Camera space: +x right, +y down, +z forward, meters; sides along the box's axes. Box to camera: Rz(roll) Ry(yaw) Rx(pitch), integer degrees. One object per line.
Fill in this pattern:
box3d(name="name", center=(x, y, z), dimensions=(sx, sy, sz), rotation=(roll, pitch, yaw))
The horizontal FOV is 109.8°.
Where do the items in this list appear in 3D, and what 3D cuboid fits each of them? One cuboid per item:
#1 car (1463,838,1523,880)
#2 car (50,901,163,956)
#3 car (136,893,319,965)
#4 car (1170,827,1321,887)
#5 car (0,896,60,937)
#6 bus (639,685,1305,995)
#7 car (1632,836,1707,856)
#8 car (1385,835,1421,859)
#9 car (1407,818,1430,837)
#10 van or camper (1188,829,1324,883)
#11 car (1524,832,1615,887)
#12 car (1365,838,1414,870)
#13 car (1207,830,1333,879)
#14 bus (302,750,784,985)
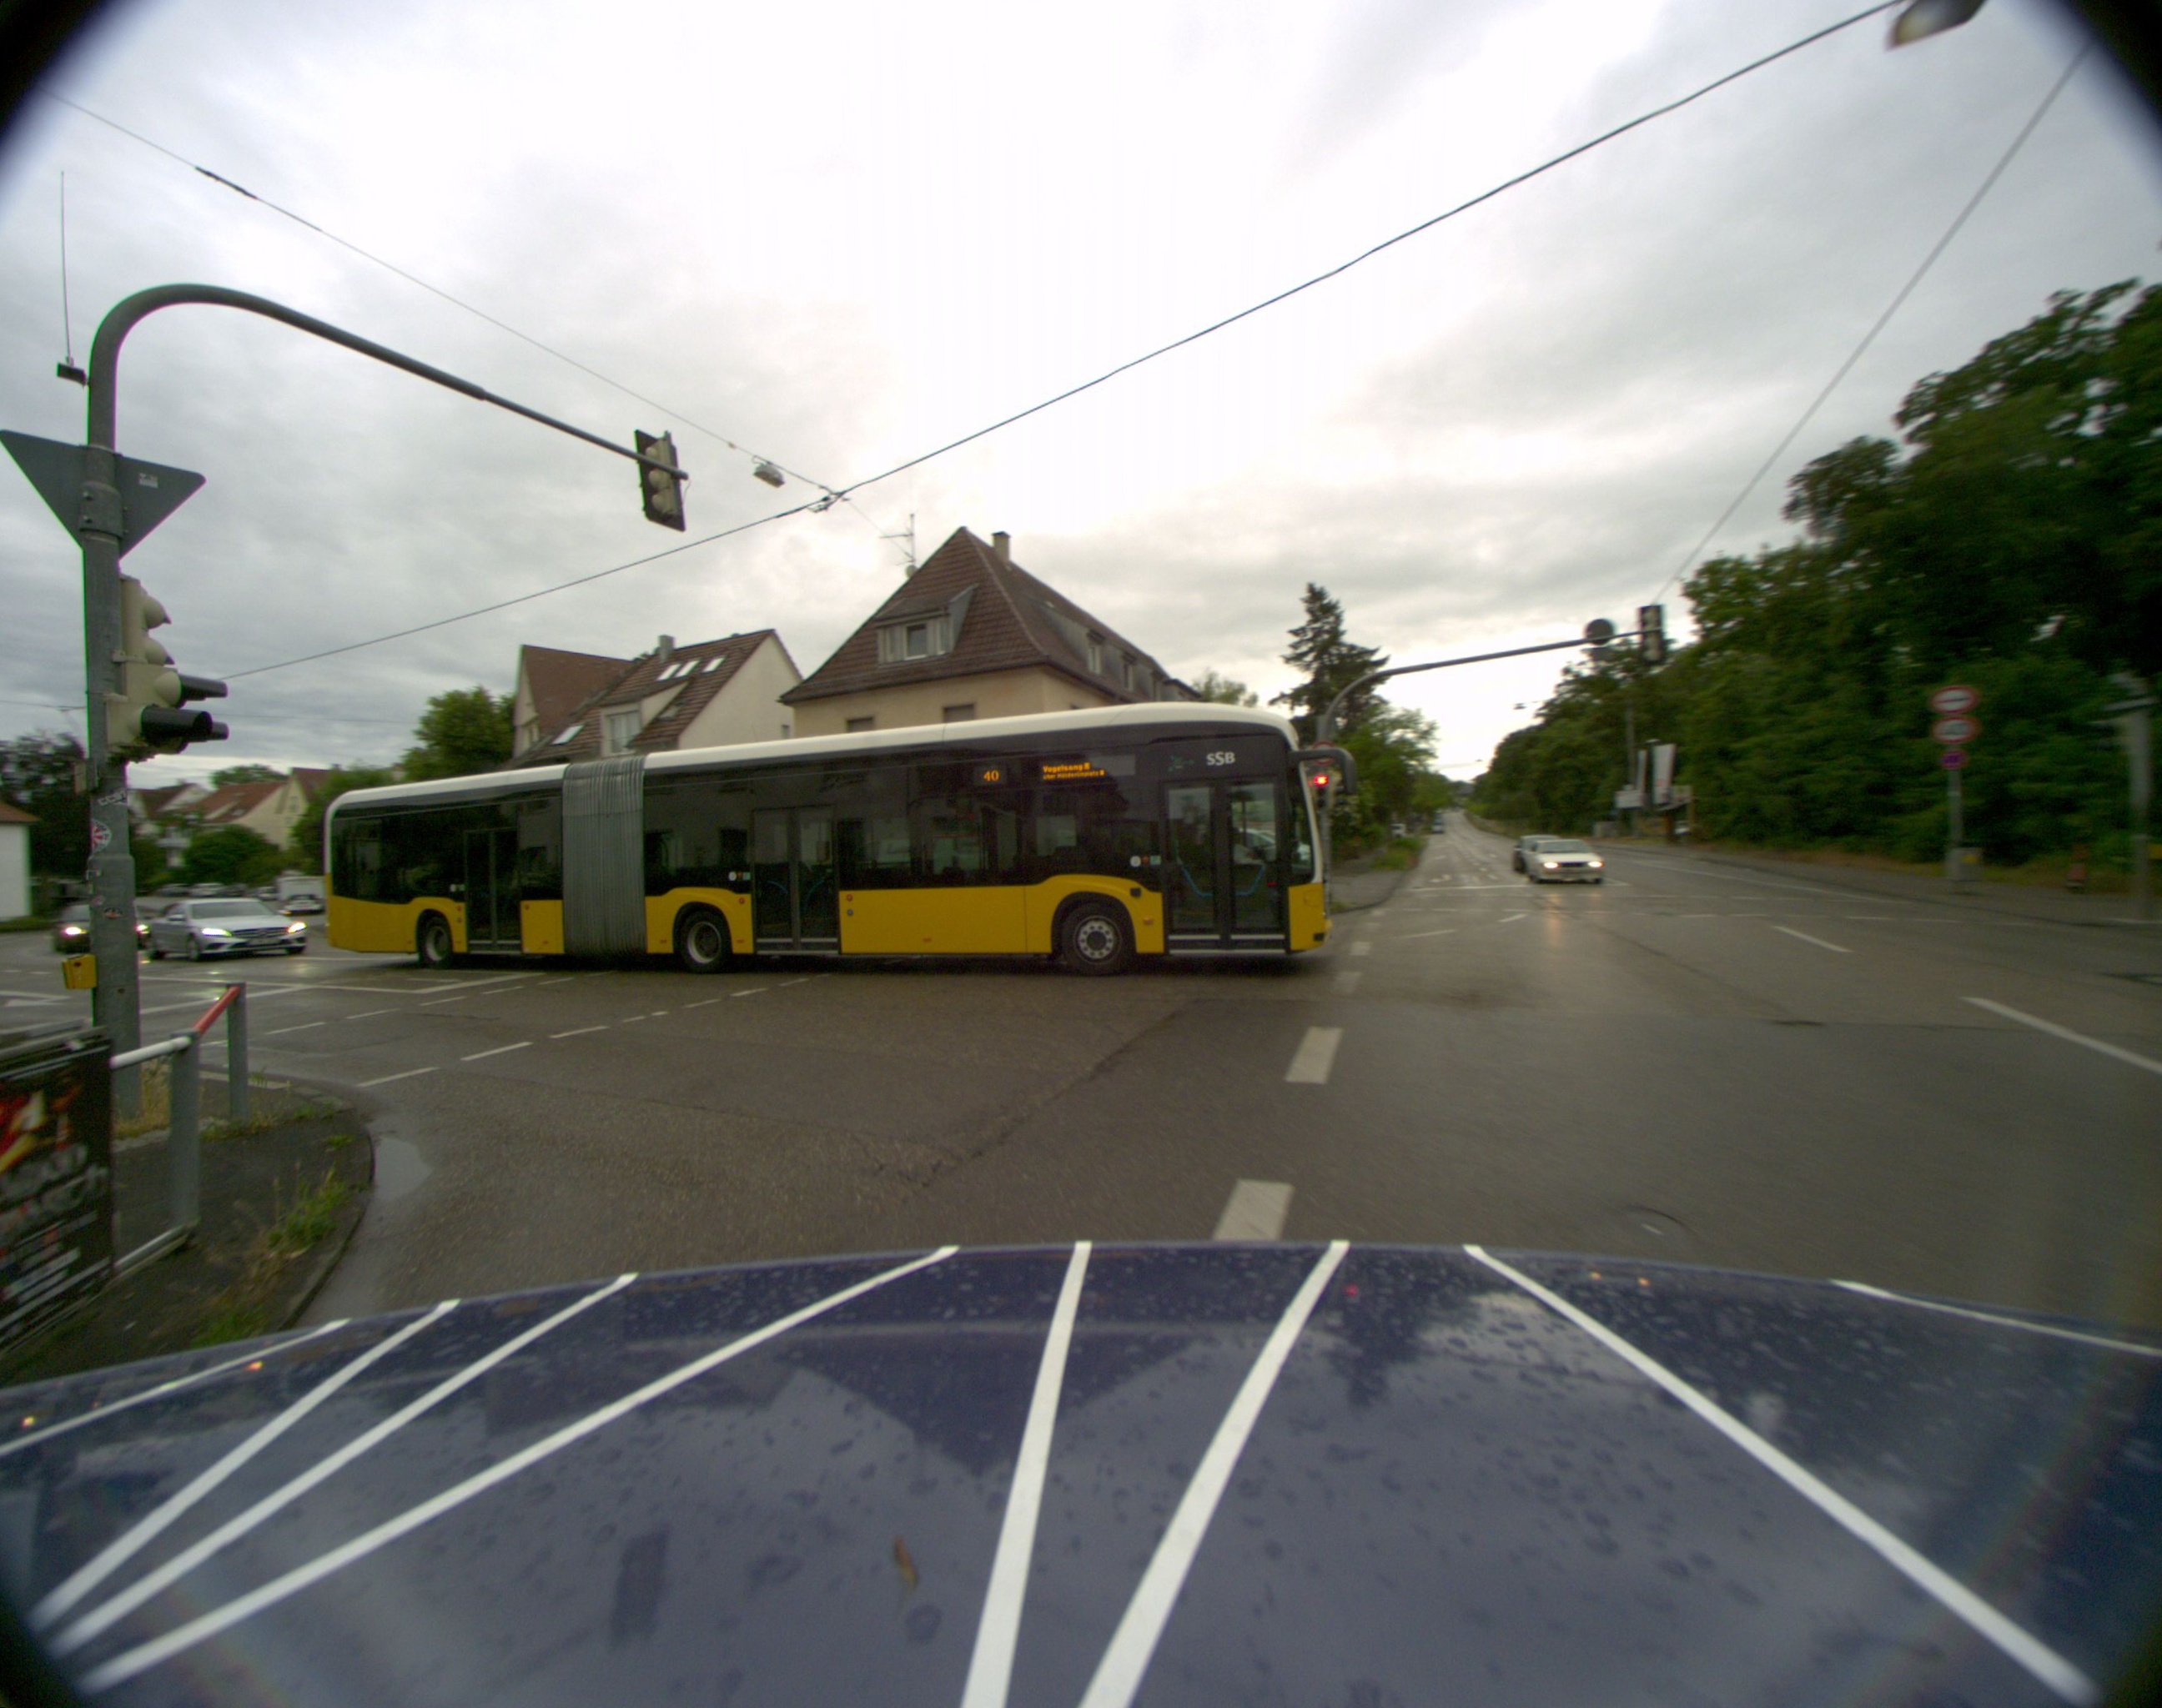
box3d(name="car", center=(15.916, 0.162, 29.494), dimensions=(1.821, 1.347, 4.005), rotation=(-1, 3, 26))
box3d(name="car", center=(-30.414, 2.279, 23.687), dimensions=(4.030, 1.470, 1.735), rotation=(-3, 0, 32))
box3d(name="car", center=(-21.098, 1.815, 18.758), dimensions=(4.475, 1.470, 2.003), rotation=(-3, 0, 29))
box3d(name="car", center=(6.203, 0.132, 28.859), dimensions=(5.169, 2.002, 2.003), rotation=(-2, 2, 29))
box3d(name="car", center=(-57.575, 3.371, 39.593), dimensions=(1.935, 1.936, 4.932), rotation=(-1, 1, 44))
box3d(name="bus", center=(-1.565, 0.022, 11.007), dimensions=(9.022, 3.378, 2.912), rotation=(-3, 0, 18))
box3d(name="car", center=(42.552, -0.570, 55.035), dimensions=(3.990, 1.193, 1.608), rotation=(-2, 2, 24))
box3d(name="car", center=(21.700, -0.514, 51.087), dimensions=(1.999, 1.347, 4.005), rotation=(-1, 3, 26))
box3d(name="car", center=(35.039, -2.762, 78.858), dimensions=(1.999, 1.870, 4.005), rotation=(-1, 3, 26))
box3d(name="van or camper", center=(7.335, 0.081, 31.929), dimensions=(5.169, 2.002, 2.003), rotation=(-2, 2, 27))
box3d(name="car", center=(14.616, 0.122, 22.936), dimensions=(1.821, 1.347, 4.005), rotation=(-1, 3, 26))
box3d(name="car", center=(15.584, -0.033, 38.302), dimensions=(1.999, 1.347, 4.005), rotation=(-1, 3, 26))
box3d(name="car", center=(8.610, 0.040, 34.697), dimensions=(5.169, 2.002, 2.003), rotation=(-2, 2, 27))
box3d(name="bus", center=(-9.859, 0.351, 13.770), dimensions=(8.661, 3.378, 2.689), rotation=(-3, 0, 22))
